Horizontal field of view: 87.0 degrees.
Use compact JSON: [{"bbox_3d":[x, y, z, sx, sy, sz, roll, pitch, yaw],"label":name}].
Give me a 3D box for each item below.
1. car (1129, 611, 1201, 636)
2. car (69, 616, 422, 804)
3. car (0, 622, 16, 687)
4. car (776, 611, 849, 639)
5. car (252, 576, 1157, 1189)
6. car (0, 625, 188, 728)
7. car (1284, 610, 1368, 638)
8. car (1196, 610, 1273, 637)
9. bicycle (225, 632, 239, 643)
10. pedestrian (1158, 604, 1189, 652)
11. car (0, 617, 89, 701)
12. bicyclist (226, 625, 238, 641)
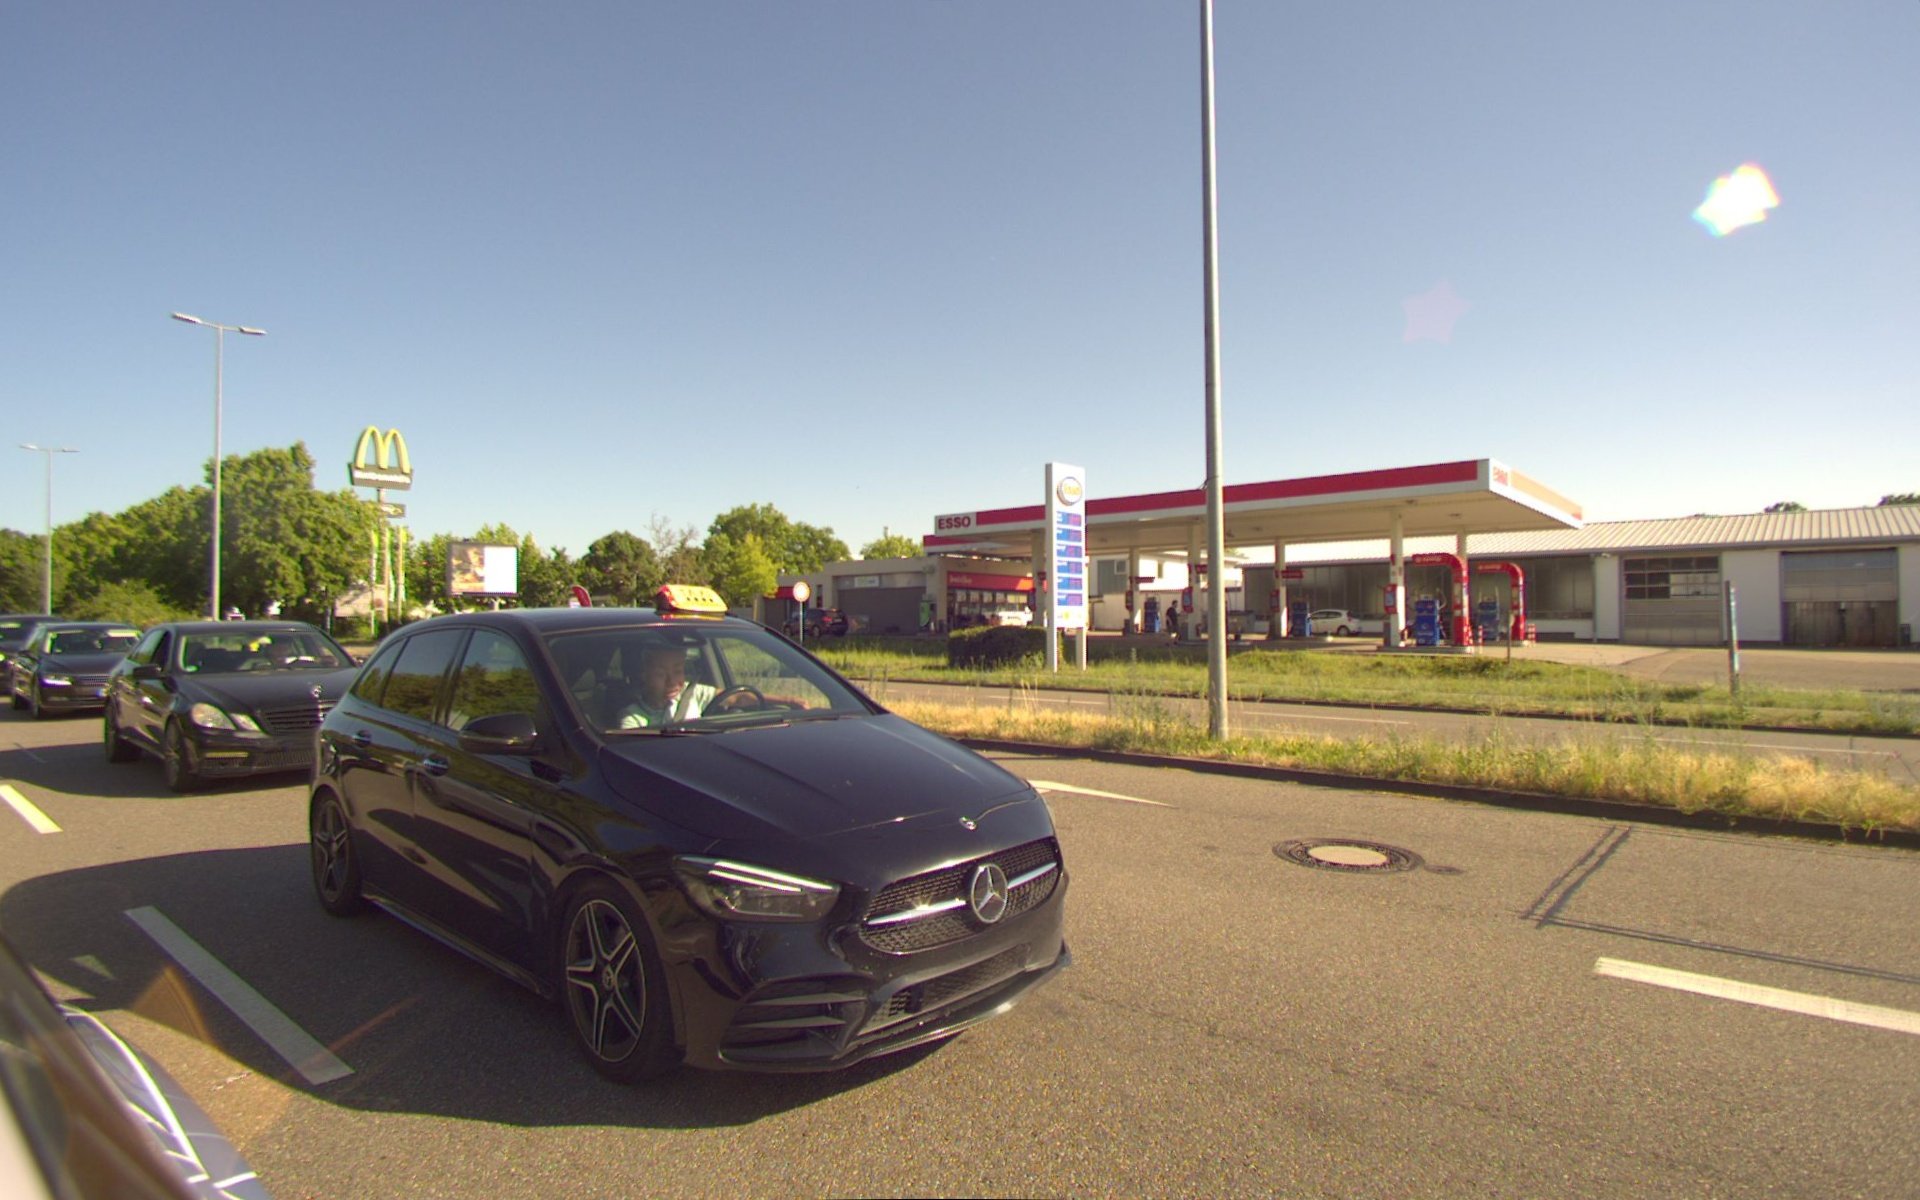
[{"bbox_3d":[12.432,1.405,61.387,3.975,1.420,1.661,-1,-4,40],"label":"car"},{"bbox_3d":[-7.277,0.900,10.133,4.400,1.449,1.845,-1,0,40],"label":"car"},{"bbox_3d":[-25.213,1.370,25.534,3.774,1.567,1.615,-1,-1,40],"label":"car"},{"bbox_3d":[-8.019,1.377,54.930,3.975,1.420,1.661,-1,-4,40],"label":"car"},{"bbox_3d":[-1.492,0.705,4.576,4.400,1.502,1.741,-1,0,40],"label":"car"},{"bbox_3d":[-14.413,1.157,16.704,4.284,1.438,1.775,-1,0,40],"label":"car"},{"bbox_3d":[19.832,1.312,54.845,3.975,1.420,1.661,-1,-4,40],"label":"car"},{"bbox_3d":[15.828,1.362,58.430,3.975,1.420,1.661,-1,-4,40],"label":"car"},{"bbox_3d":[-60.894,3.123,84.642,1.741,0.874,0.621,-1,0,42],"label":"bicycle"},{"bbox_3d":[8.035,1.053,38.123,0.902,1.763,0.781,-1,0,37],"label":"pedestrian"},{"bbox_3d":[-19.967,1.206,21.469,3.876,1.629,1.653,-1,-1,40],"label":"car"},{"bbox_3d":[-60.930,2.782,84.689,0.700,1.298,0.621,-1,0,42],"label":"bicyclist"}]
